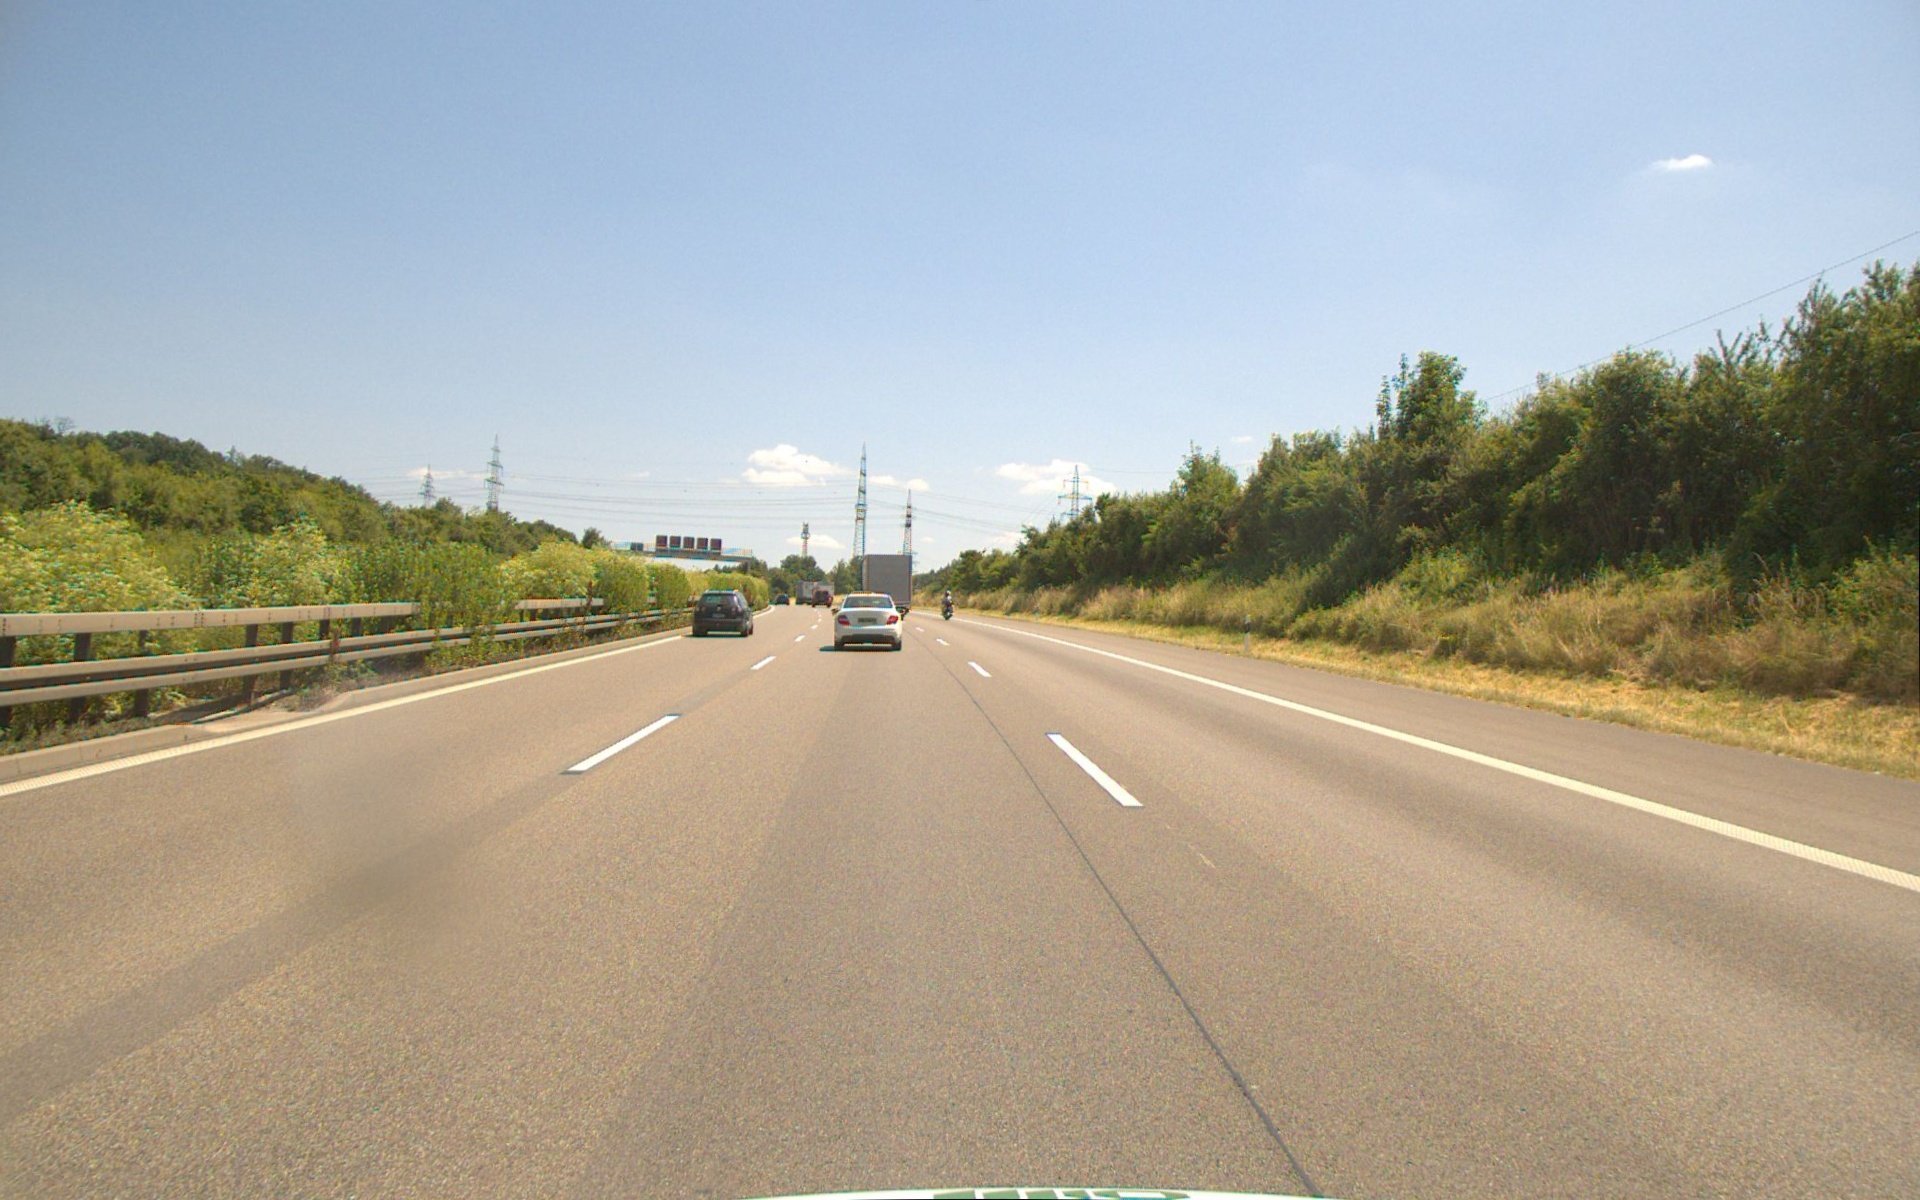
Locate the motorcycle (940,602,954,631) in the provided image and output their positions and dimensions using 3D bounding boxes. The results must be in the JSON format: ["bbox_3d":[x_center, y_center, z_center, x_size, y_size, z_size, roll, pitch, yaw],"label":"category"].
[{"bbox_3d":[-0.781,0.955,95.966,0.793,1.635,1.782,1,0,-1],"label":"motorcycle"}]

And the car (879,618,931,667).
[{"bbox_3d":[-2.468,1.844,73.002,1.956,2.049,3.994,0,0,-7],"label":"car"}]

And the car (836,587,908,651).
[{"bbox_3d":[-2.313,0.455,43.162,1.783,1.567,3.912,0,1,-4],"label":"car"}]

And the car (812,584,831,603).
[{"bbox_3d":[-14.786,-0.701,176.476,1.865,1.959,3.995,0,0,-6],"label":"car"}]

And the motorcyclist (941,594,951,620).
[{"bbox_3d":[-0.828,0.424,95.963,0.560,1.505,0.700,0,0,-1],"label":"motorcyclist"}]

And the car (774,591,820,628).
[{"bbox_3d":[-7.135,0.407,72.651,1.802,1.567,3.912,0,1,-3],"label":"car"}]

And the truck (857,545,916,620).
[{"bbox_3d":[-4.216,-0.928,94.061,3.157,3.993,9.055,1,0,-3],"label":"truck"}]

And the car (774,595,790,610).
[{"bbox_3d":[-23.075,0.309,214.520,1.956,1.892,3.993,0,0,-8],"label":"car"}]

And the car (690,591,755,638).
[{"bbox_3d":[-7.684,0.455,53.799,1.721,1.454,3.998,0,1,-3],"label":"car"}]

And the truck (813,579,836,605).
[{"bbox_3d":[-21.427,-1.246,260.397,3.417,3.981,7.280,1,0,-6],"label":"truck"}]
